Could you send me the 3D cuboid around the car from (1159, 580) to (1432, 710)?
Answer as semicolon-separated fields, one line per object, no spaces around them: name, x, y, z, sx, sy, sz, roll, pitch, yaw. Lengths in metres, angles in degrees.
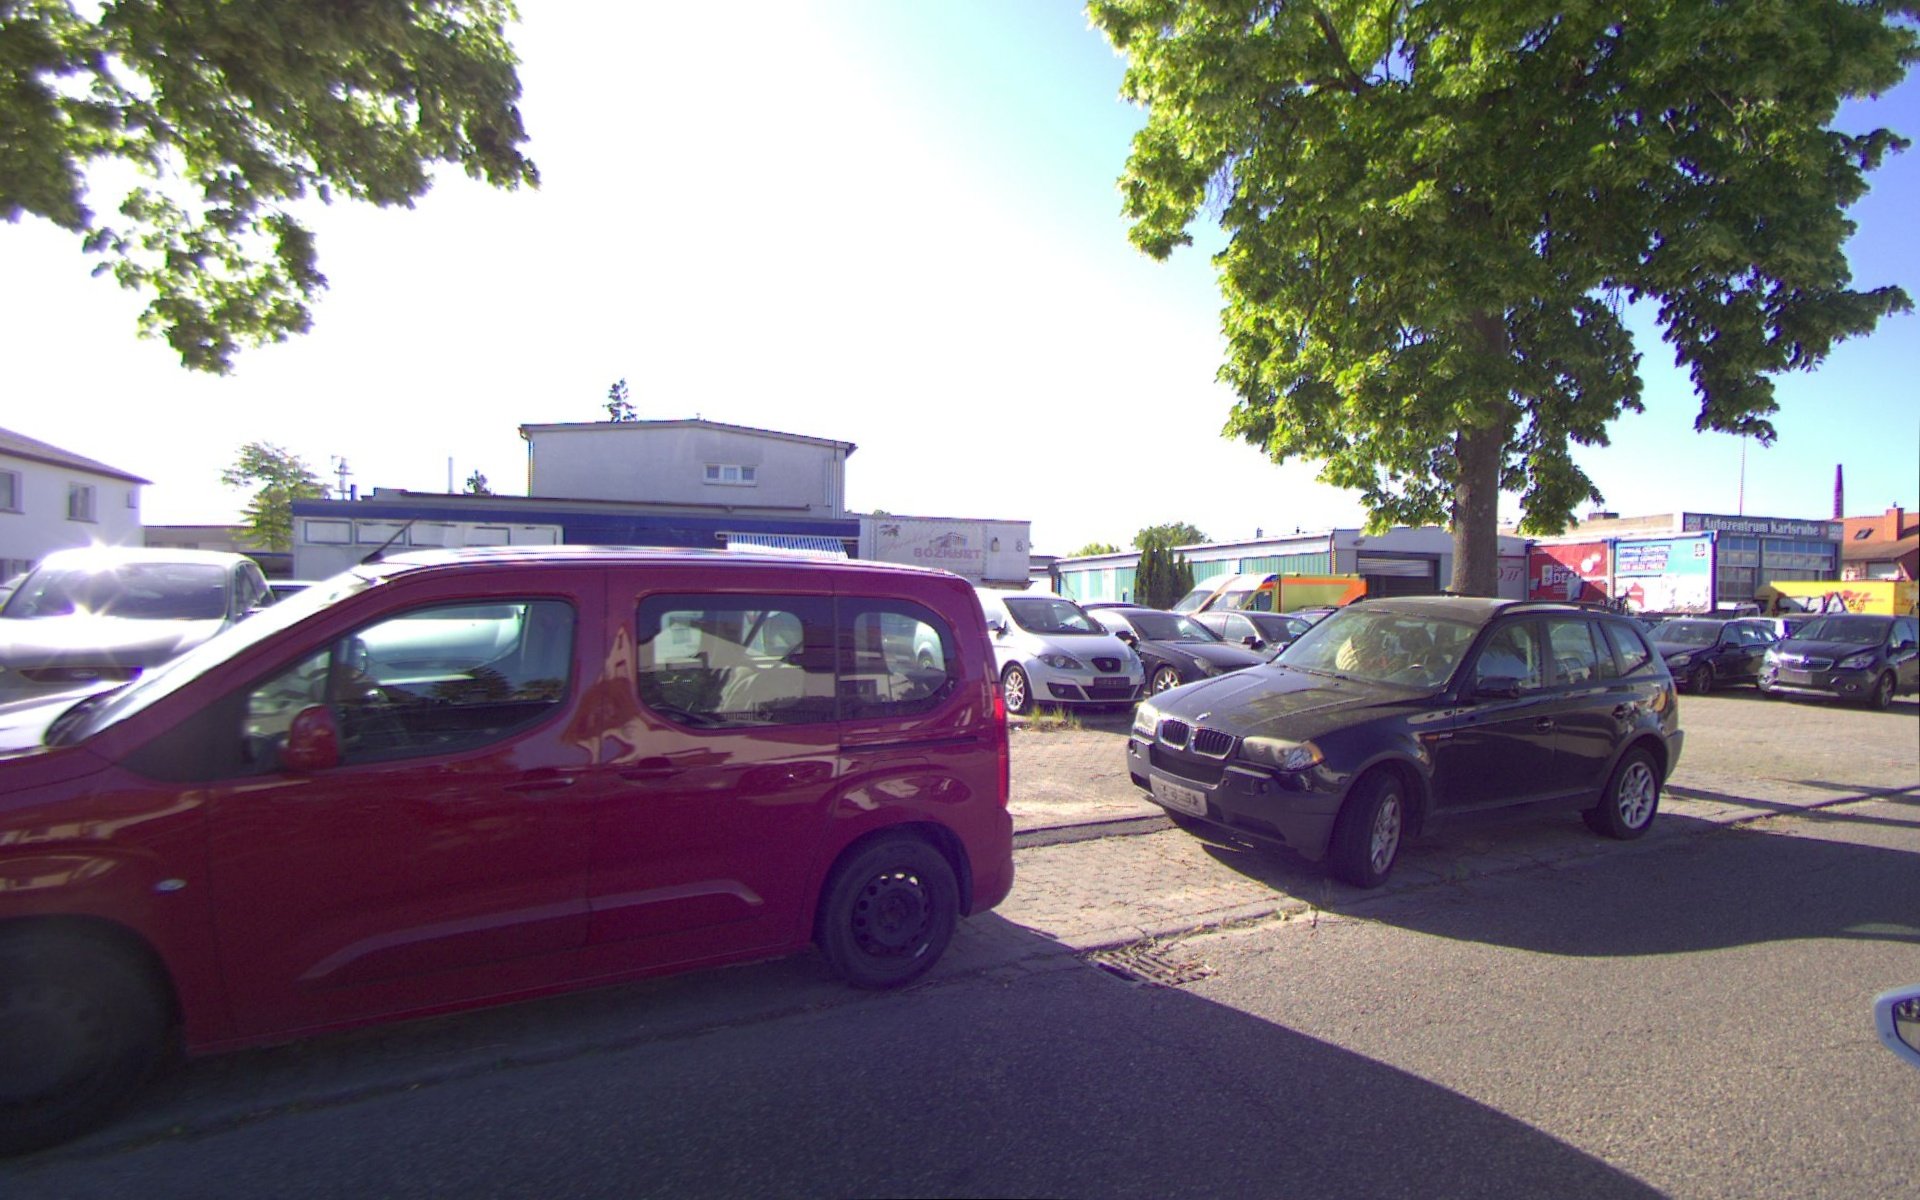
car;5.111;0.638;15.937;1.741;1.751;4.239;1;-1;-23

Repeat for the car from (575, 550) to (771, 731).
car;-3.588;0.421;12.026;1.741;1.751;4.239;1;-1;-23

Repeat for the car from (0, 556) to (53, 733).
car;-9.232;0.401;8.259;1.745;1.607;4.229;1;1;-30

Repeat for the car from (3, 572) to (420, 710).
car;-9.229;0.490;12.819;3.944;1.537;1.660;1;0;-24

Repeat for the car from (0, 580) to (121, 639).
car;-24.798;0.243;27.380;1.477;1.496;3.863;1;0;-16

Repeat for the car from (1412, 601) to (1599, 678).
car;13.479;0.919;24.859;4.098;1.772;1.775;0;0;-18

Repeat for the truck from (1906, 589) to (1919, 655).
truck;40.182;0.958;38.082;2.188;2.602;5.917;1;1;-17

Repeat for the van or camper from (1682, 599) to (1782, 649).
van or camper;32.401;1.003;42.145;3.950;2.040;1.853;1;0;-28

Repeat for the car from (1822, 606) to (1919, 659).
car;33.294;1.125;35.905;4.145;1.583;1.864;-3;2;-18

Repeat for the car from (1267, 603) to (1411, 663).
car;11.972;1.012;31.775;4.098;1.772;1.775;0;0;-18

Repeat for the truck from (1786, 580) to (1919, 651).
truck;41.280;0.703;45.326;2.137;3.012;6.091;1;0;-16

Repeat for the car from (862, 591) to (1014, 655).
car;-0.634;0.628;27.883;3.934;1.676;1.664;1;0;-16

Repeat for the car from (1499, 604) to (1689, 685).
car;14.238;1.011;22.506;4.227;1.610;1.852;3;-1;-30

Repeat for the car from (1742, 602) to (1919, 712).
car;16.637;0.992;18.647;4.226;1.737;1.852;1;3;-30

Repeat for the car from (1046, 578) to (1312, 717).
car;3.040;0.623;14.917;1.741;1.751;4.239;1;-1;-23

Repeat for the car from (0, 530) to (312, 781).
car;-7.309;0.409;9.184;1.742;1.776;4.235;1;-1;-25

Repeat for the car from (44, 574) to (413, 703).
car;-10.146;0.520;14.328;3.944;1.640;1.660;1;0;-24

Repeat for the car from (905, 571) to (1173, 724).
car;0.883;0.573;13.828;1.743;1.751;4.233;1;-1;-27

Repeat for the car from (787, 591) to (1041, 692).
car;-0.766;0.663;16.897;3.944;1.537;1.660;1;0;-24

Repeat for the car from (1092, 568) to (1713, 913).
car;3.260;0.751;7.135;4.501;1.795;1.666;1;2;-30

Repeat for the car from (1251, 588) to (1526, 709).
car;6.976;0.731;16.853;1.741;1.751;4.239;1;-1;-23

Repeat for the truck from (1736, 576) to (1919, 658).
truck;36.156;0.605;41.810;2.483;3.161;5.664;1;1;-18

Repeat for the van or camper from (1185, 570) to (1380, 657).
van or camper;10.803;0.472;33.657;6.172;2.751;2.163;1;0;-19

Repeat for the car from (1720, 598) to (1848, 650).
car;32.250;0.928;39.342;3.936;1.840;1.992;2;1;-17

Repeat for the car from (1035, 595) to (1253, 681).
car;3.590;0.715;19.581;3.944;1.537;1.660;1;0;-24

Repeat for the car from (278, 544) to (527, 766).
car;-5.396;0.460;10.242;1.741;1.751;4.239;1;-1;-23

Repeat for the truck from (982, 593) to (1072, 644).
truck;2.825;0.768;43.993;1.995;2.090;5.857;1;0;-16

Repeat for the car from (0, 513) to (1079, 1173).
car;-1.797;0.649;4.148;4.289;1.776;1.795;1;2;-29

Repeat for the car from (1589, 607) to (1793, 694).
car;15.032;0.977;20.622;4.226;1.611;1.852;1;0;-30
